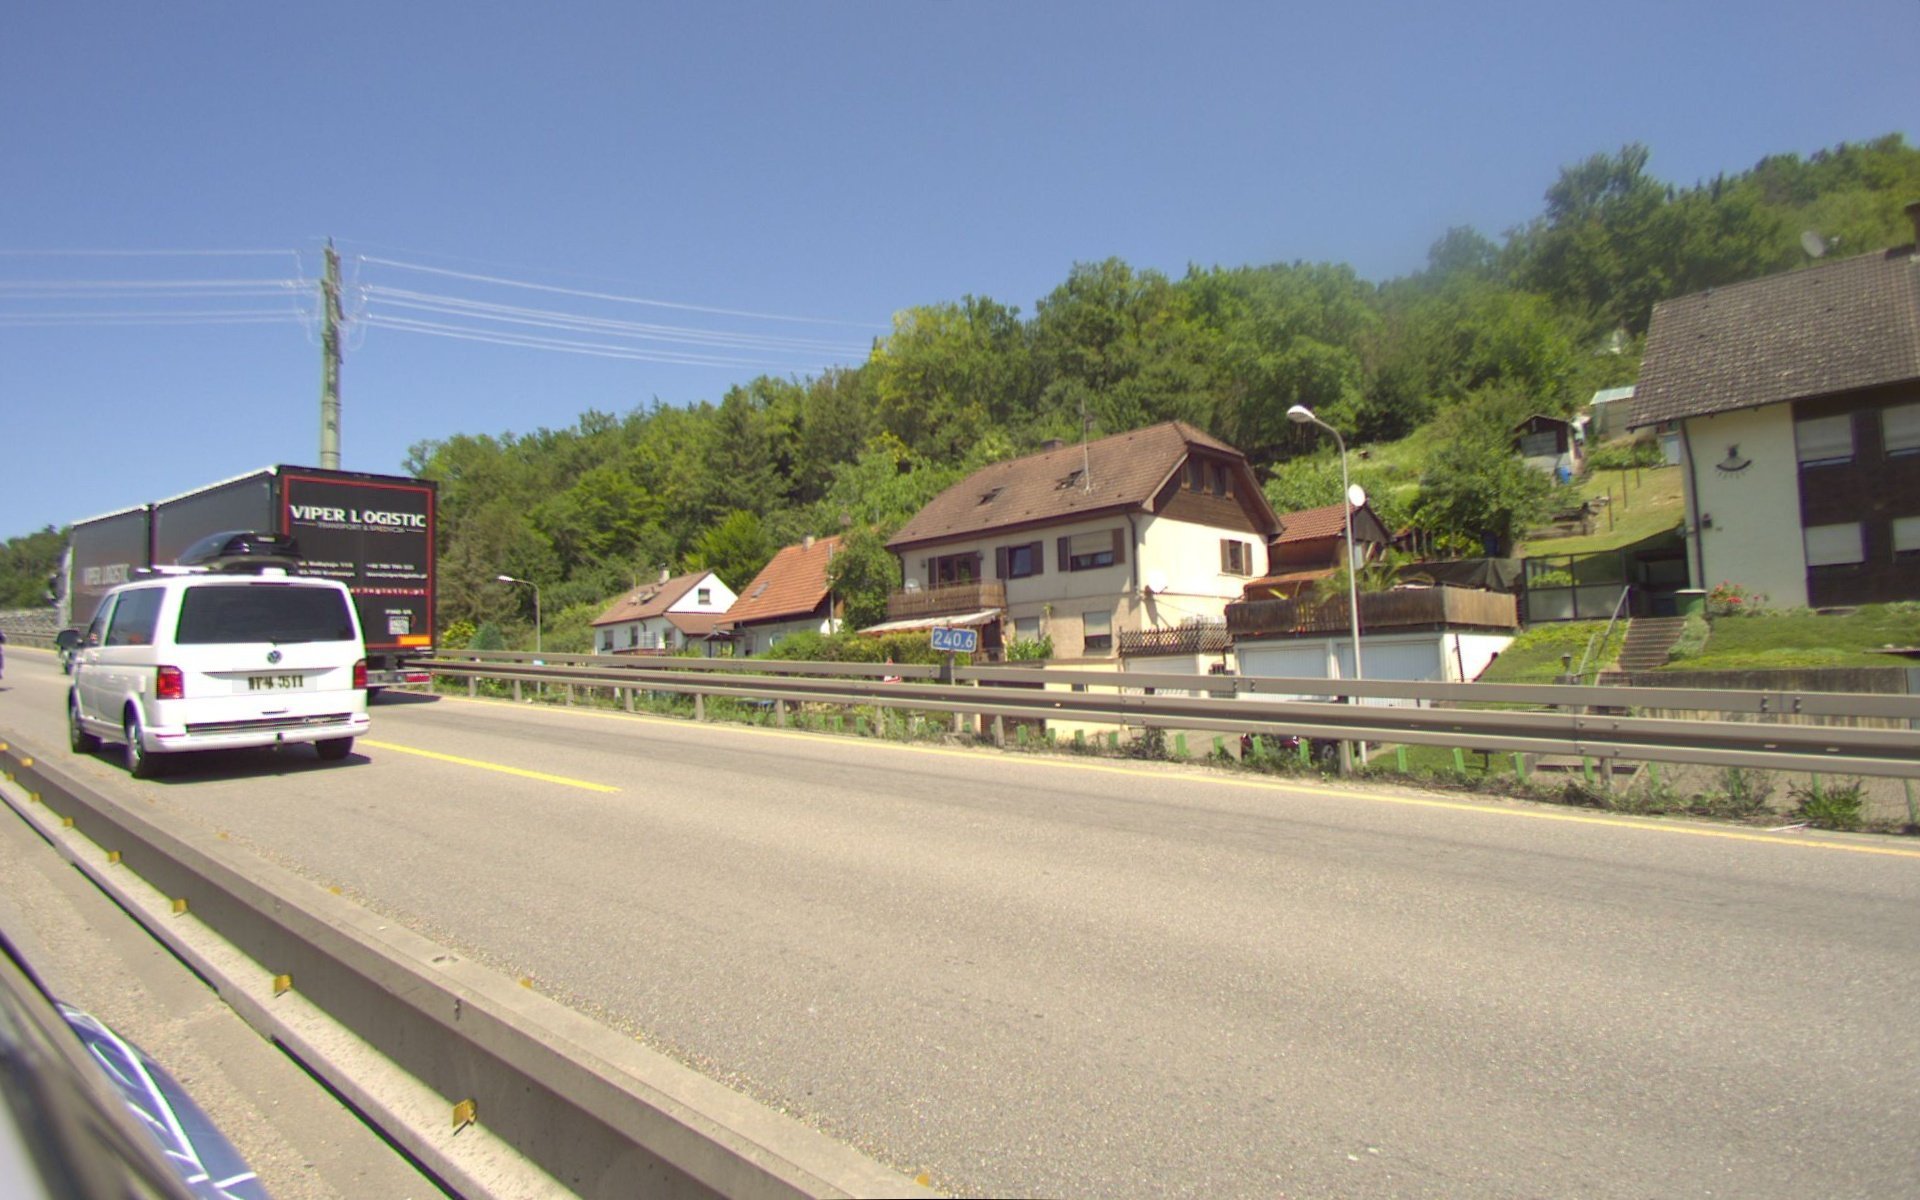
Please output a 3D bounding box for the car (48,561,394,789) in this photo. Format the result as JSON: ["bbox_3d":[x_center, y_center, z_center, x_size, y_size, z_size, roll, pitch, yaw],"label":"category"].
[{"bbox_3d":[-8.269,0.647,11.131,4.895,1.975,2.002,0,0,40],"label":"car"}]

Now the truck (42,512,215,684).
[{"bbox_3d":[-23.022,-0.002,27.961,4.951,4.316,2.725,-1,-1,38],"label":"truck"}]

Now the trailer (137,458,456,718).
[{"bbox_3d":[-13.236,-0.068,19.768,8.625,4.101,2.730,-2,-1,39],"label":"trailer"}]

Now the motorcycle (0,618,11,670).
[{"bbox_3d":[-20.853,0.939,21.512,1.911,1.088,0.778,-2,-1,40],"label":"motorcycle"}]

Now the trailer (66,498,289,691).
[{"bbox_3d":[-19.612,-0.004,25.144,8.000,4.101,2.729,-2,-1,40],"label":"trailer"}]

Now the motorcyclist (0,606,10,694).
[{"bbox_3d":[-20.938,1.070,21.603,0.983,1.869,0.844,-2,-1,40],"label":"motorcyclist"}]
